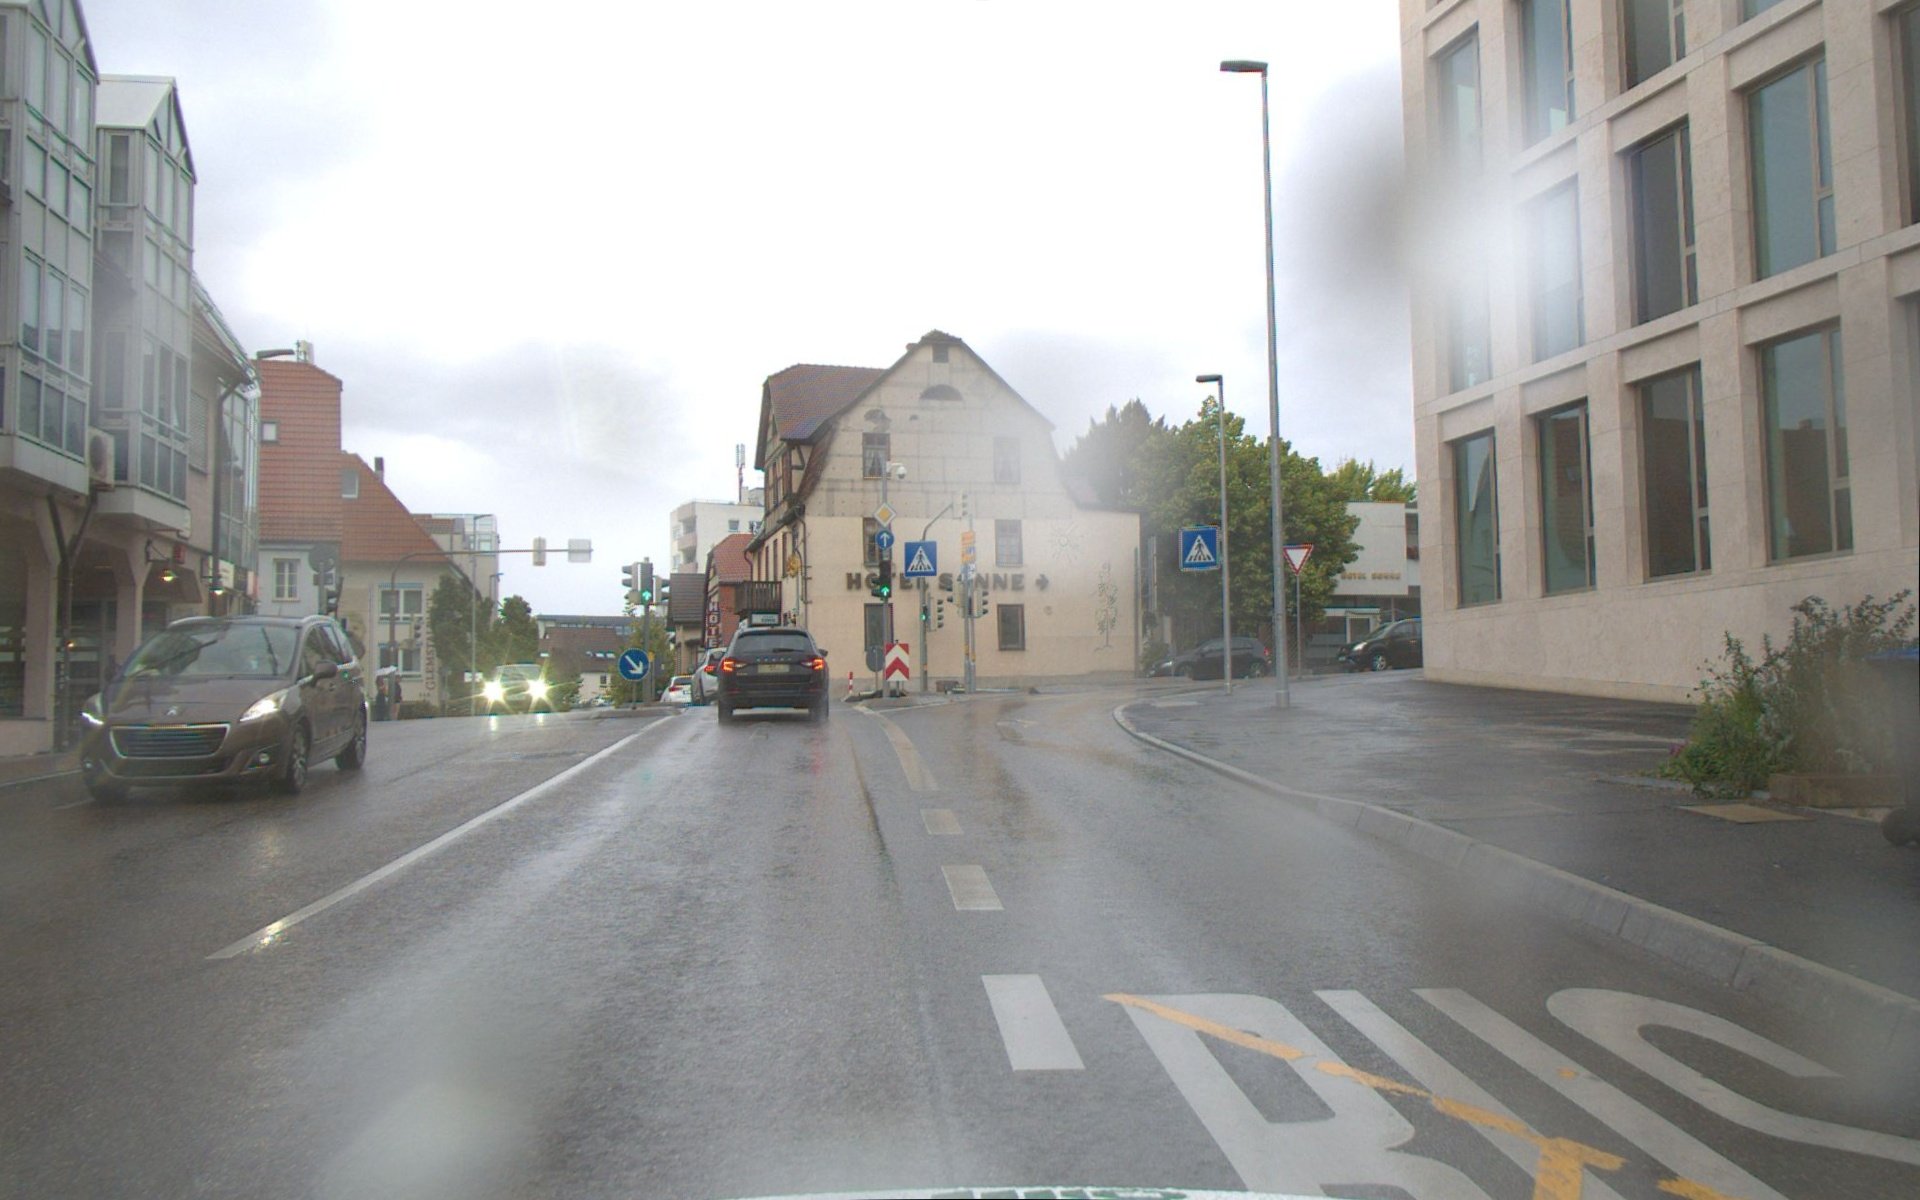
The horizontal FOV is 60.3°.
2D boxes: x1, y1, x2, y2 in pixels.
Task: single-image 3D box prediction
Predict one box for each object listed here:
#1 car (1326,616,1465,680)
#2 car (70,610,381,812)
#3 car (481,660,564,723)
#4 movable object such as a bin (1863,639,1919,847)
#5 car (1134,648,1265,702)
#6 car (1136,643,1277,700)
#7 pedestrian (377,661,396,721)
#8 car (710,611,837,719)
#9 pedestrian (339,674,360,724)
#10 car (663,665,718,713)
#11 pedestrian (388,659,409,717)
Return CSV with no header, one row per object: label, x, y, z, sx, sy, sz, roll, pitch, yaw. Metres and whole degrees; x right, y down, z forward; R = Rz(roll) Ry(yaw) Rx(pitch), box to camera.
car,14.967,1.661,56.925,4.234,1.847,1.770,-3,-5,-17
car,-6.914,0.941,16.035,1.749,1.658,4.206,-1,0,-10
car,-12.069,2.503,45.815,1.853,1.493,3.990,-2,-1,-10
movable object such as a bin,5.334,0.755,8.918,0.583,1.081,0.578,-1,0,-3
car,8.406,2.636,58.096,4.107,1.545,1.770,-3,-5,-17
car,8.219,2.389,55.169,4.236,1.531,1.769,-3,-5,-19
pedestrian,-18.672,2.970,53.835,0.527,1.904,0.630,-2,-2,-20
car,-3.034,1.000,27.498,1.906,1.594,4.413,-1,0,-5
pedestrian,-19.939,3.219,53.998,0.583,1.586,0.630,-2,-2,-20
car,-9.712,3.181,59.523,1.853,1.493,3.990,-2,-1,-10
pedestrian,-18.984,2.968,55.898,0.594,1.900,0.744,-2,-2,-20
